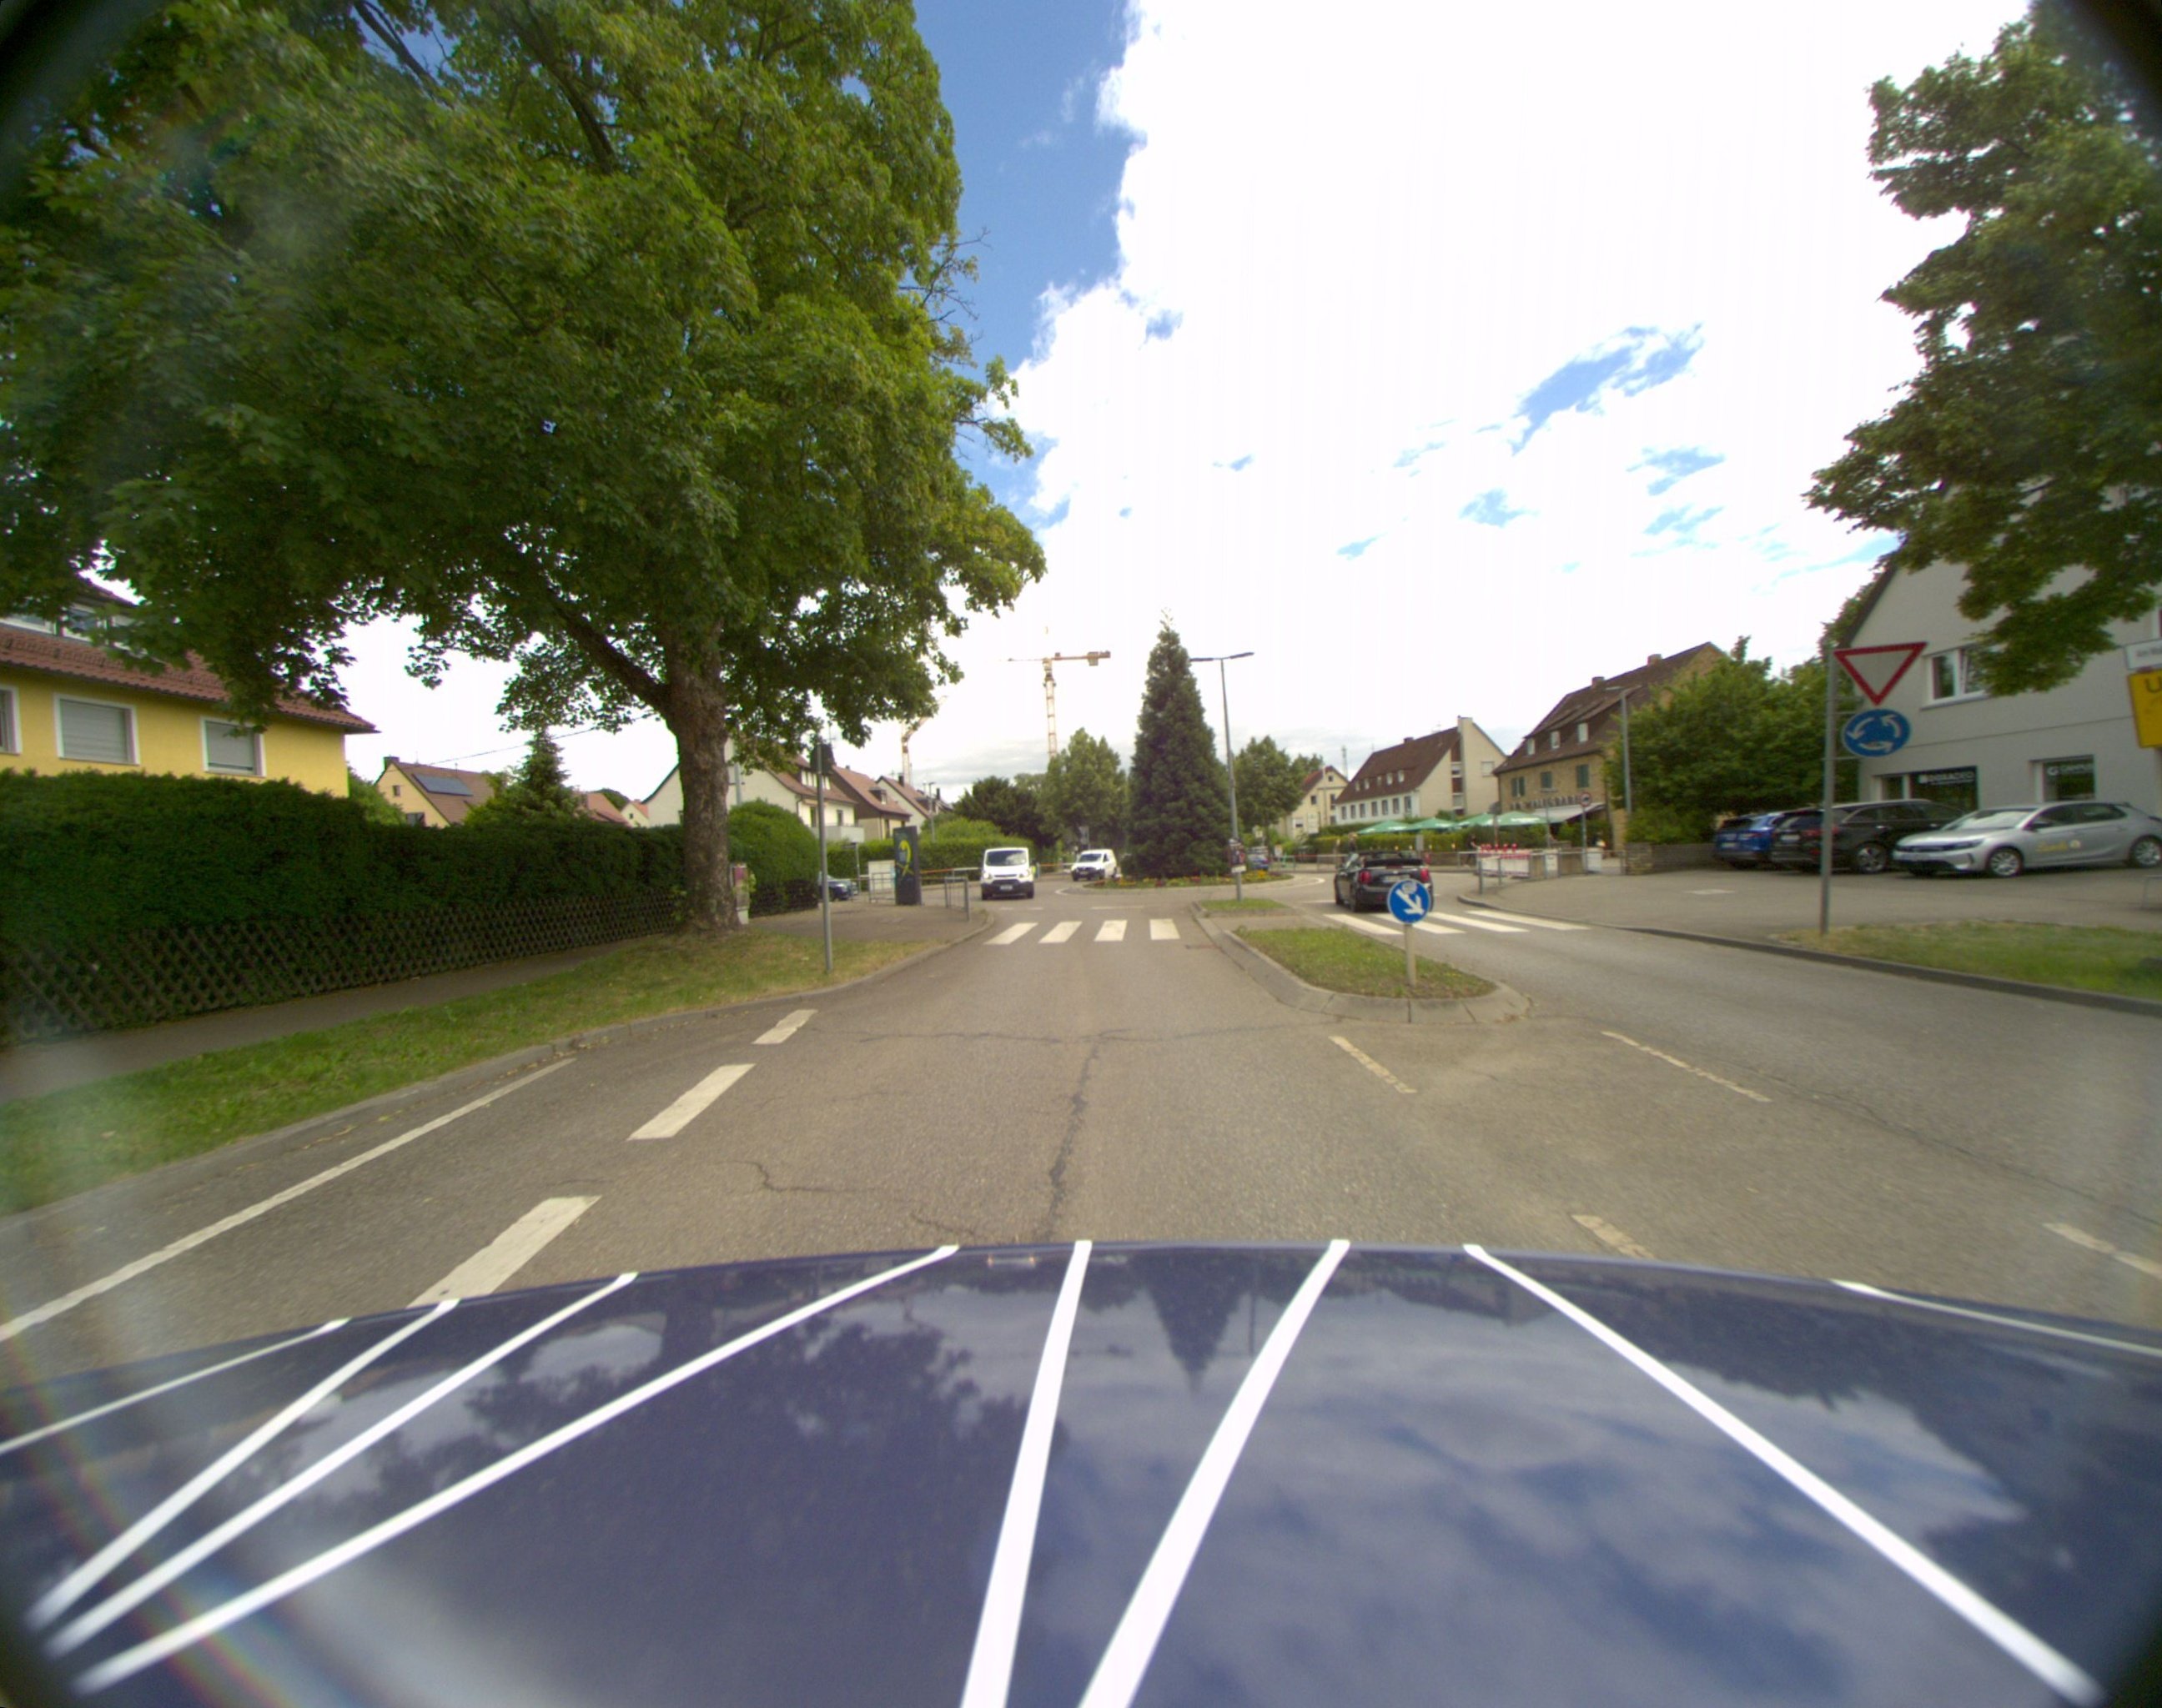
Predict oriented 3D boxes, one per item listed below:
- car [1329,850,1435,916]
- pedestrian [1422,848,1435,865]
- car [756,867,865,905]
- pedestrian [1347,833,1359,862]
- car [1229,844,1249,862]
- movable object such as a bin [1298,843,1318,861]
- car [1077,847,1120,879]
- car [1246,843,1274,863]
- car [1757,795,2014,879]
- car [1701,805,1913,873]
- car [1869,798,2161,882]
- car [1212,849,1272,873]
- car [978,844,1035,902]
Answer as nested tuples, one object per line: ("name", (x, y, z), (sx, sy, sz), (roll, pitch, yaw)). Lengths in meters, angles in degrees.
("car", (7.122, 0.618, 18.331), (1.576, 1.354, 3.745), (-3, 0, 9))
("pedestrian", (19.251, 0.123, 42.088), (0.341, 0.907, 0.427), (-5, 0, -34))
("car", (-12.158, 1.436, 34.296), (4.315, 1.440, 1.584), (-3, 0, 6))
("pedestrian", (17.743, -0.409, 49.591), (0.636, 1.816, 0.567), (-4, 0, 19))
("car", (17.240, -0.108, 83.135), (1.750, 1.819, 4.050), (-3, 0, 8))
("movable object such as a bin", (19.038, -0.188, 63.703), (0.983, 1.408, 2.723), (-3, 0, 4))
("car", (1.096, 0.500, 45.148), (1.925, 1.744, 4.002), (-3, 0, 9))
("car", (15.808, -0.069, 67.343), (1.750, 1.626, 4.049), (-3, 0, 4))
("car", (19.157, -0.400, 18.277), (3.926, 1.653, 1.856), (-4, 2, 8))
("car", (19.833, -0.414, 20.898), (3.927, 1.527, 1.819), (-4, 1, 4))
("car", (19.336, -0.272, 15.783), (3.927, 1.394, 1.747), (-4, 0, 4))
("car", (10.073, 0.381, 47.865), (1.615, 1.364, 4.499), (-2, 1, -19))
("car", (-2.962, 0.701, 30.449), (1.999, 2.002, 5.048), (-3, 0, -5))
